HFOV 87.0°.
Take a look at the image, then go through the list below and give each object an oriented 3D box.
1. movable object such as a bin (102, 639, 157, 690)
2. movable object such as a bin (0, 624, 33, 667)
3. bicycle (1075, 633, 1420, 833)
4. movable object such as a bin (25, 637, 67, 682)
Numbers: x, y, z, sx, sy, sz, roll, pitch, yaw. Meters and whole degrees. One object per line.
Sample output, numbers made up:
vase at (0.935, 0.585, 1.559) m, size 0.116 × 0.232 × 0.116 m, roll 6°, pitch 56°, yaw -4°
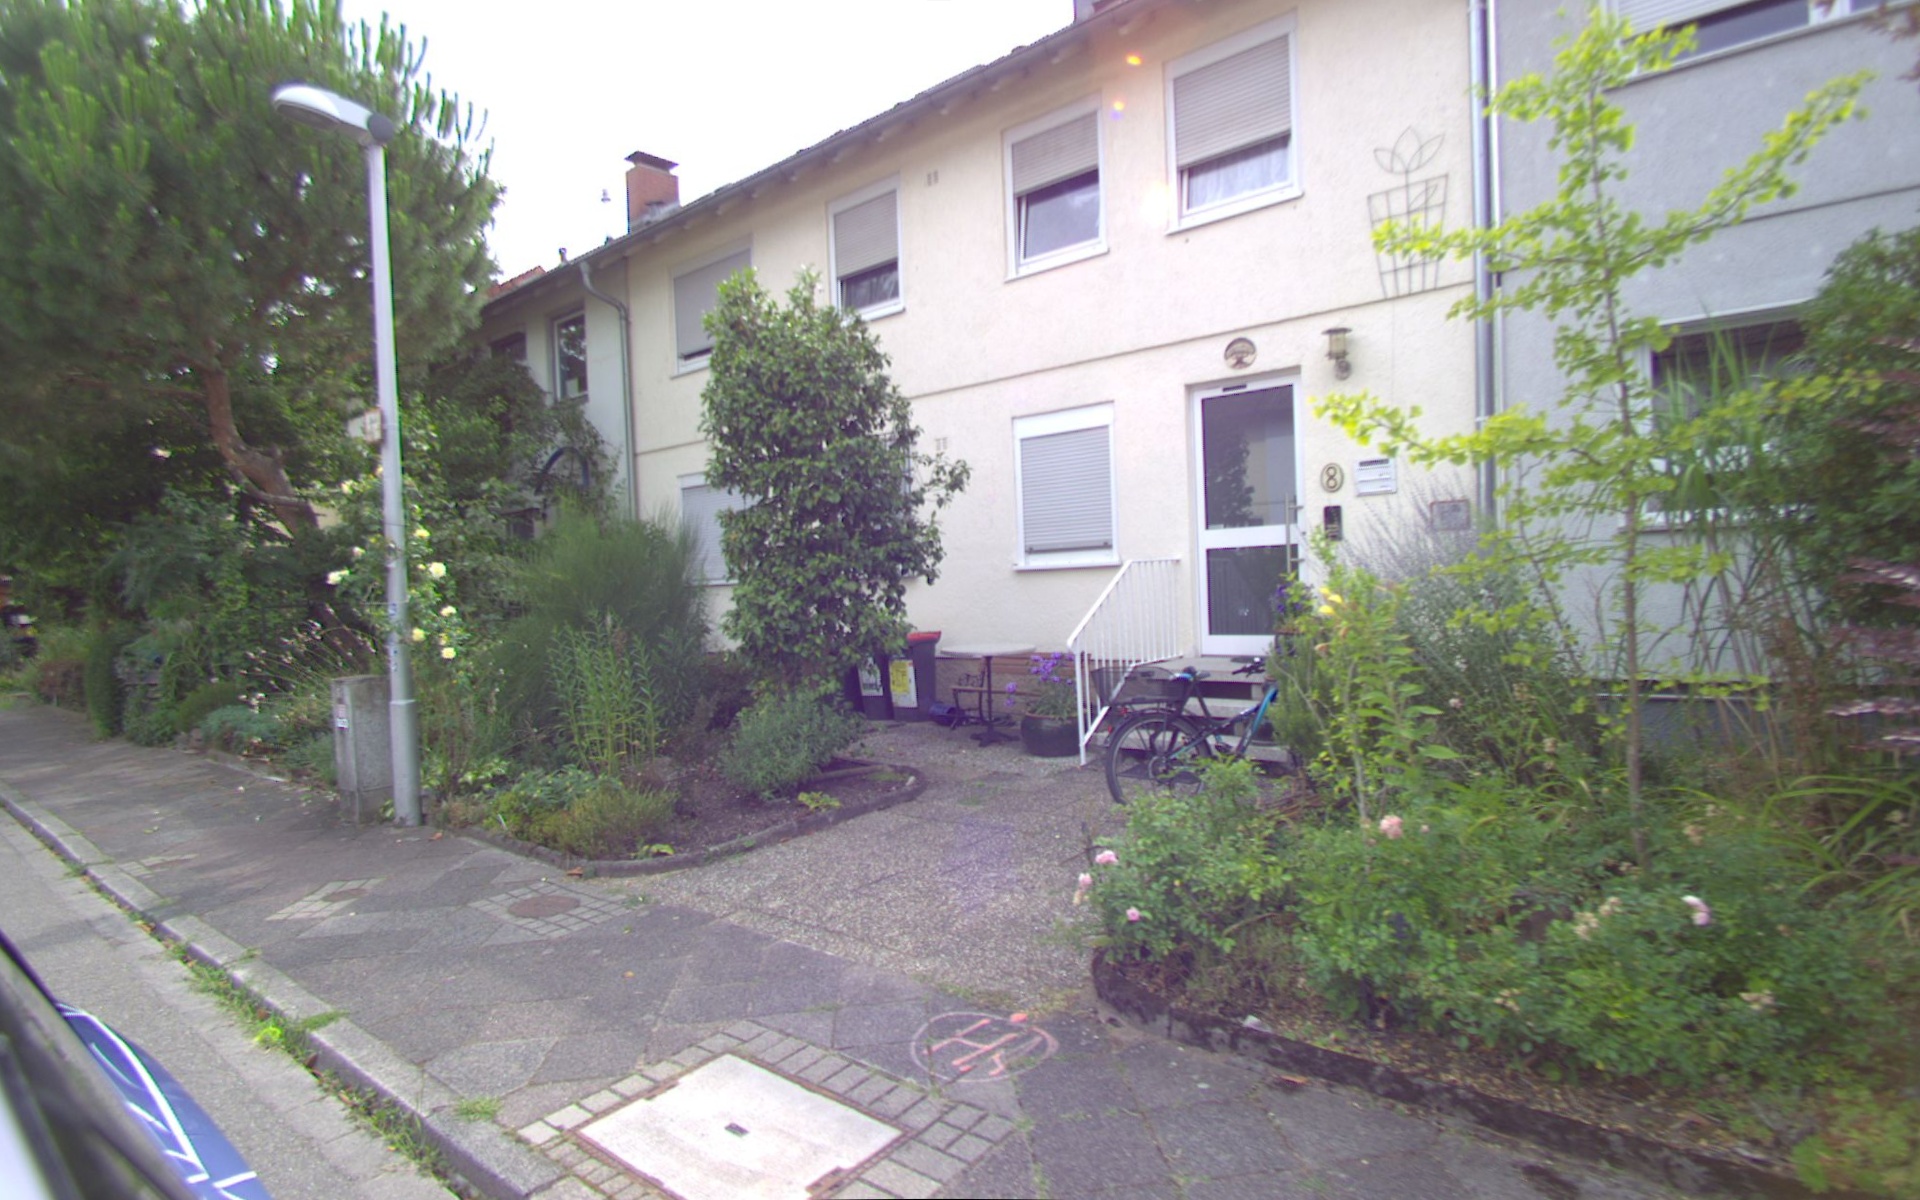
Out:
movable object such as a bin at (-16.690, 1.283, 20.341) m, size 0.750 × 0.963 × 0.705 m, roll -2°, pitch 0°, yaw 40°
movable object such as a bin at (-24.311, 1.160, 25.931) m, size 0.821 × 1.079 × 0.697 m, roll -2°, pitch -1°, yaw 40°
bicycle at (1.526, 0.677, 5.458) m, size 1.676 × 0.899 × 0.530 m, roll -3°, pitch 0°, yaw -8°
movable object such as a bin at (-23.885, 1.546, 26.450) m, size 0.877 × 1.138 × 0.697 m, roll -2°, pitch -1°, yaw 40°
